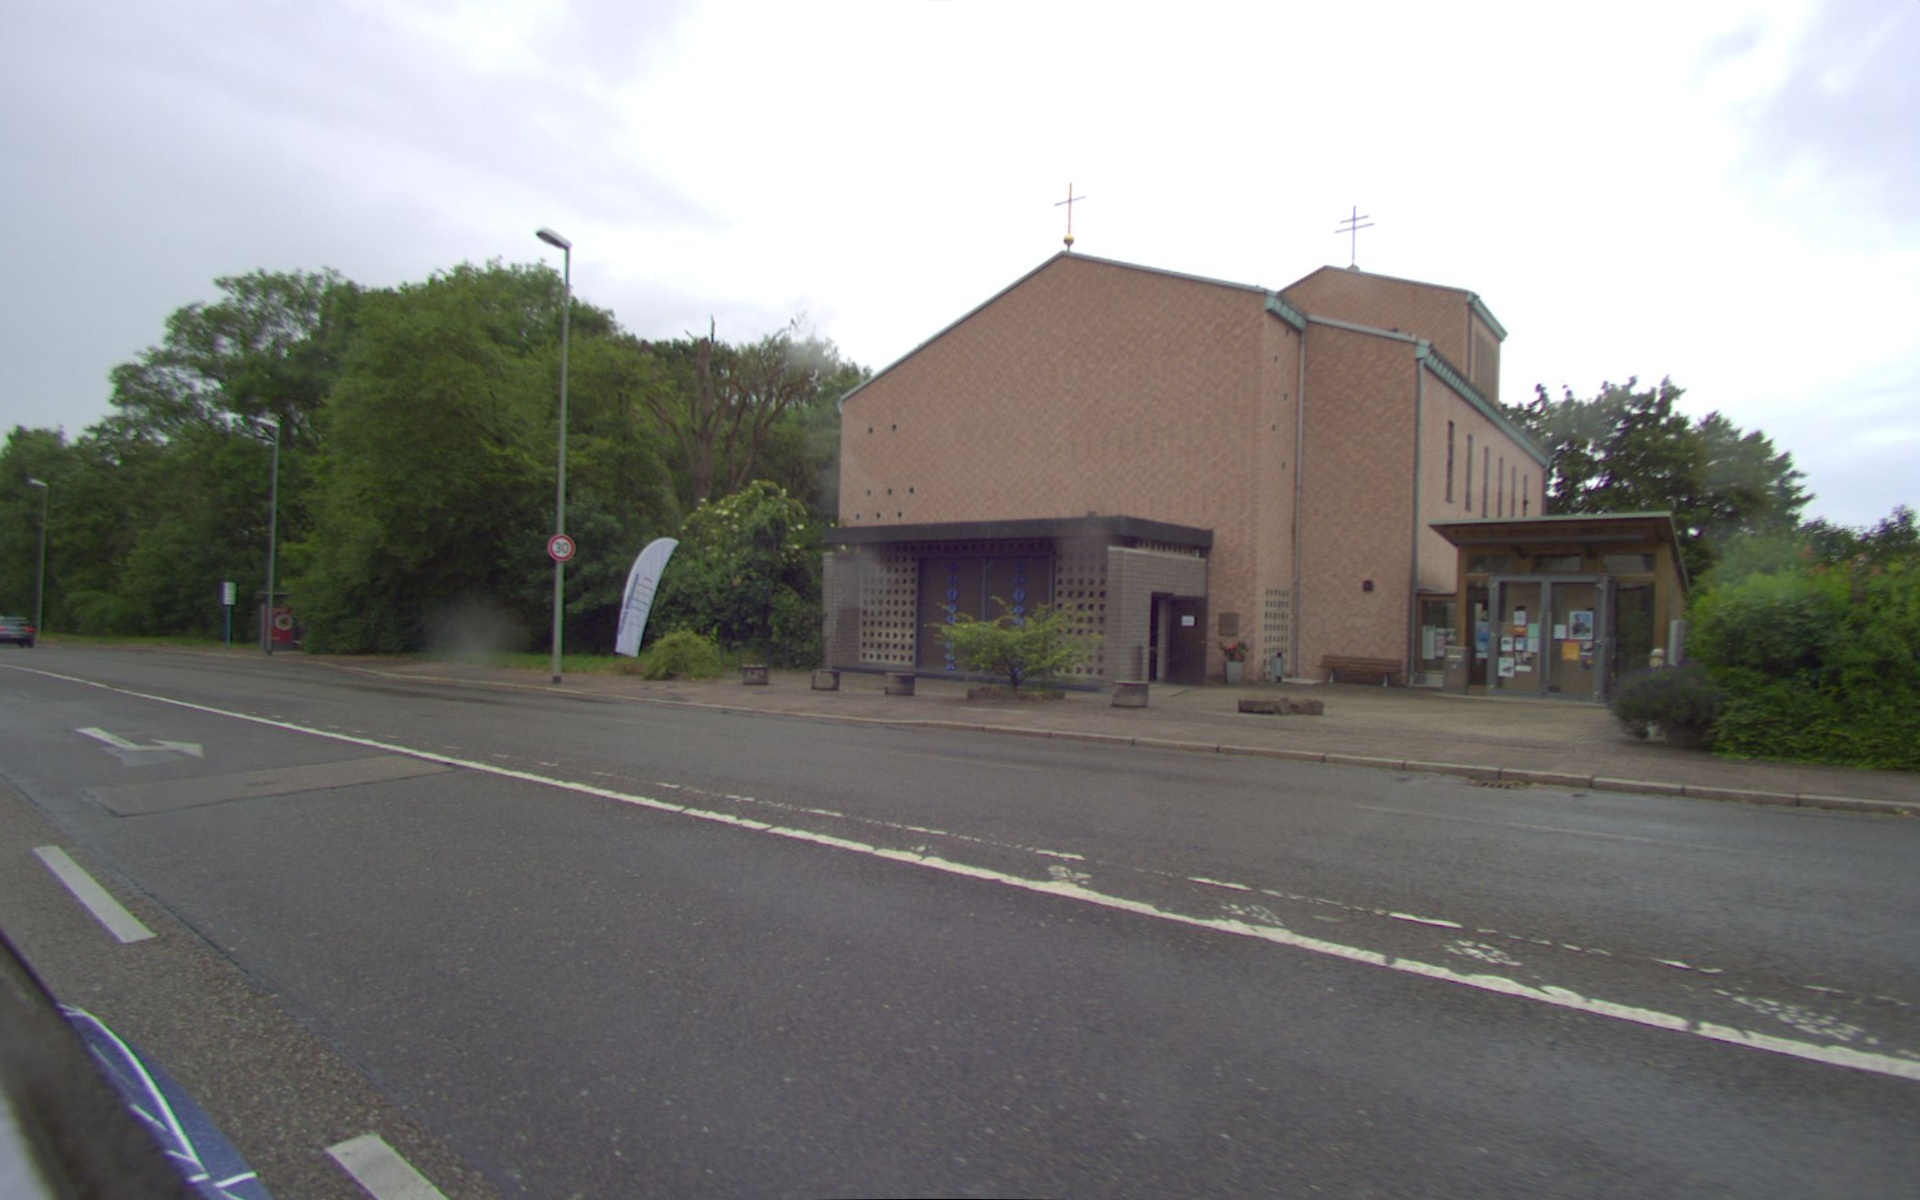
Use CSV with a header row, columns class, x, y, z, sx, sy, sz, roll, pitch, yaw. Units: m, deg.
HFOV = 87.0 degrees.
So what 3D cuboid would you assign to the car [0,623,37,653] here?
class,x,y,z,sx,sy,sz,roll,pitch,yaw
car,-52.940,2.104,56.145,4.312,1.603,1.890,-1,-3,38
